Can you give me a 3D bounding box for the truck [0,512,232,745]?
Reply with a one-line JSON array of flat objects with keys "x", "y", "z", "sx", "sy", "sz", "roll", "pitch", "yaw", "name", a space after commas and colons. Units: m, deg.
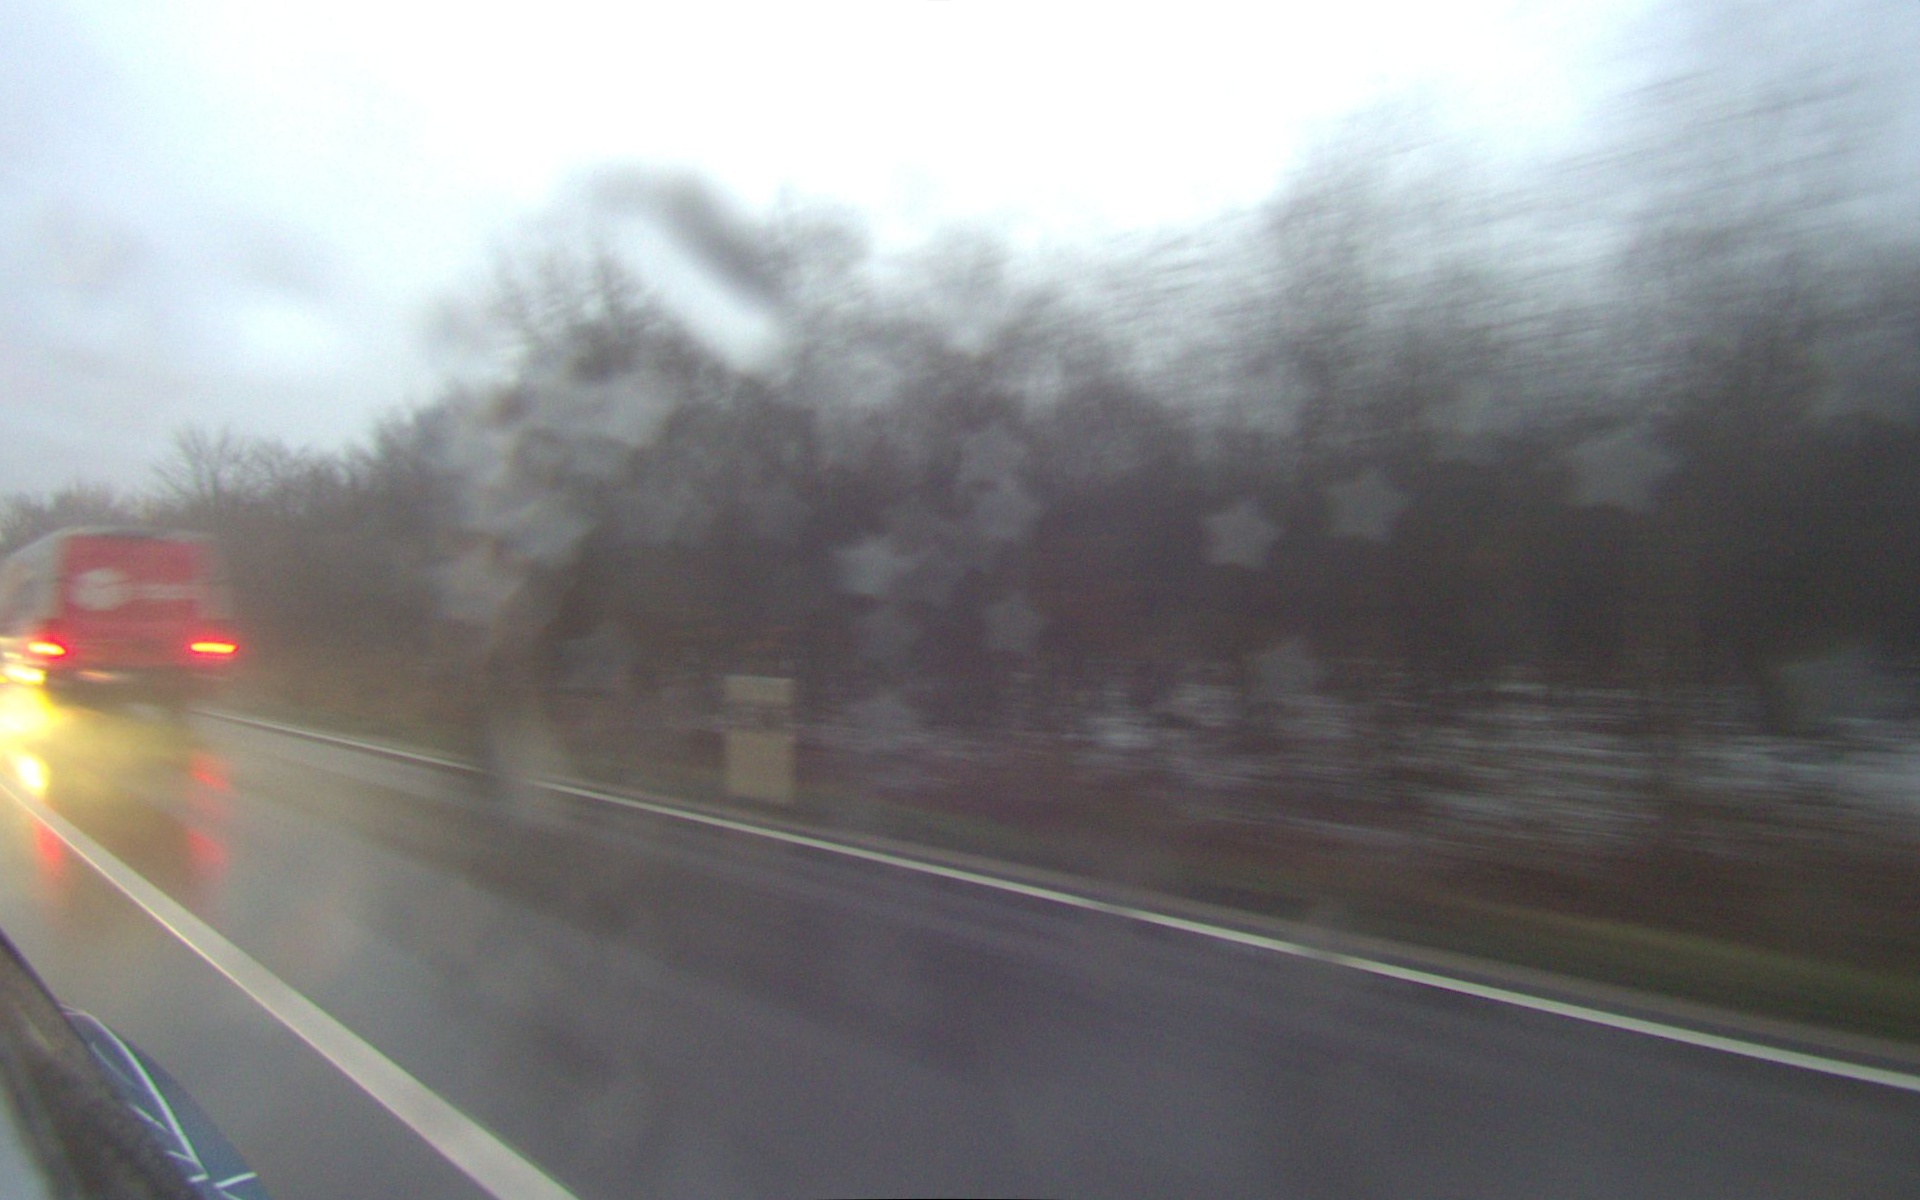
[{"x": -13.181, "y": 0.388, "z": 15.209, "sx": 6.867, "sy": 2.792, "sz": 2.081, "roll": -1, "pitch": 0, "yaw": 41, "name": "truck"}]
